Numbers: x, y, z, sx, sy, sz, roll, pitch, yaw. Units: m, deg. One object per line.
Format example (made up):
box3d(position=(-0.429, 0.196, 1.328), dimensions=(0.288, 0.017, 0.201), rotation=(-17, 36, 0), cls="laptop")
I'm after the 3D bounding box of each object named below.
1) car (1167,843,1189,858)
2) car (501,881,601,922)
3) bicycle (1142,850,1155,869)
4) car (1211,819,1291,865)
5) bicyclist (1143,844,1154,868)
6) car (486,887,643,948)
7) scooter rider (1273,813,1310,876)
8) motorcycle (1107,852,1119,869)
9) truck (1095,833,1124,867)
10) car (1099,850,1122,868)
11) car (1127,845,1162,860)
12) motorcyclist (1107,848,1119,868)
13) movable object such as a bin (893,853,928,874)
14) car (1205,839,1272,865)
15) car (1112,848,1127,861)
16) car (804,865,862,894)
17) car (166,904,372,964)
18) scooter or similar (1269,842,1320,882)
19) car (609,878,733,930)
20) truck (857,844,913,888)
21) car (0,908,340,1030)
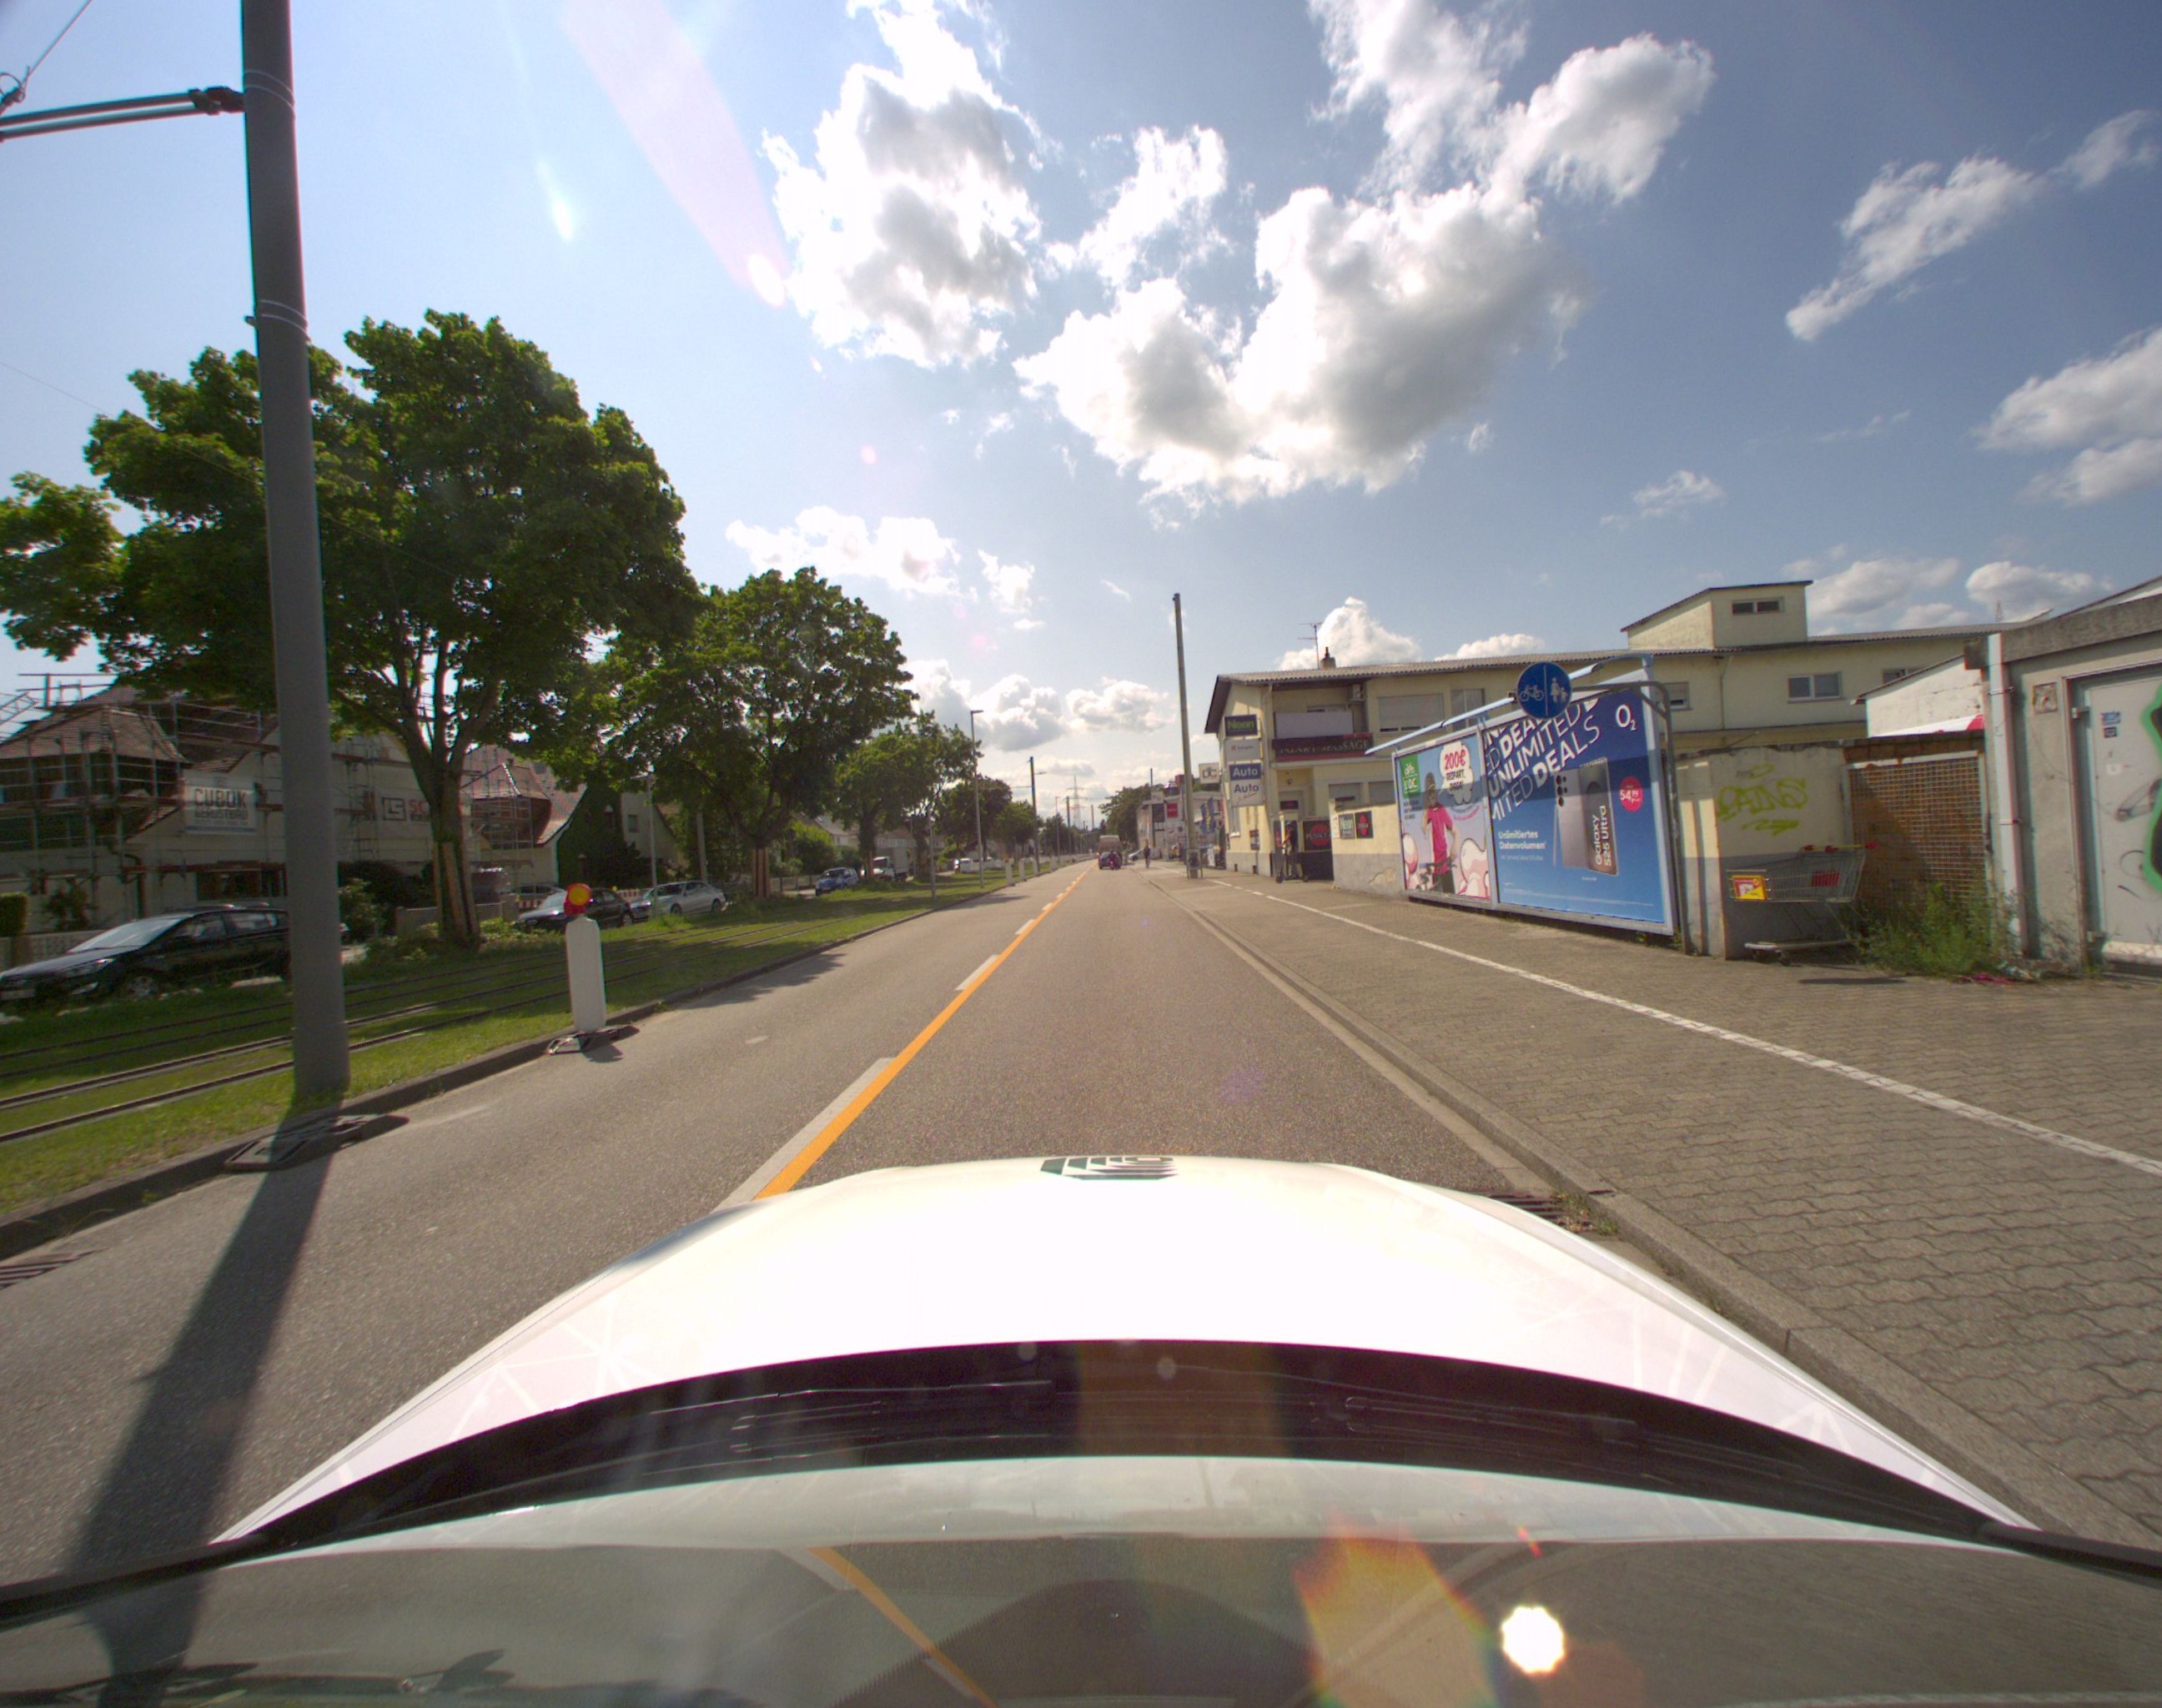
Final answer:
box3d(position=(11.548, -0.427, 97.204), dimensions=(1.953, 1.648, 3.999), rotation=(-4, -1, 0), cls="car")
box3d(position=(-26.228, 2.331, 40.396), dimensions=(3.634, 1.684, 1.874), rotation=(-5, -1, 1), cls="car")
box3d(position=(5.057, 0.408, 61.126), dimensions=(0.690, 1.361, 2.419), rotation=(-4, 0, 2), cls="bicycle")
box3d(position=(10.639, -0.735, 51.124), dimensions=(4.517, 2.573, 2.153), rotation=(-4, 0, 3), cls="car")
box3d(position=(5.054, 0.128, 61.102), dimensions=(0.669, 1.744, 0.814), rotation=(-4, 0, 1), cls="bicyclist")
box3d(position=(-15.171, 1.827, 24.199), dimensions=(1.986, 1.317, 3.854), rotation=(-6, -1, 2), cls="car")
box3d(position=(6.713, -0.291, 25.996), dimensions=(0.721, 1.963, 0.778), rotation=(-2, -2, -28), cls="scooter rider")
box3d(position=(2.569, 0.491, 66.141), dimensions=(0.936, 1.320, 2.646), rotation=(-2, 0, 2), cls="motorcycle")
box3d(position=(3.101, -0.550, 86.745), dimensions=(2.600, 3.255, 9.189), rotation=(-4, 1, 3), cls="truck")
box3d(position=(2.560, 0.429, 70.619), dimensions=(1.815, 1.424, 4.002), rotation=(-3, 0, 2), cls="car")
box3d(position=(8.375, -0.187, 107.932), dimensions=(4.325, 1.551, 1.945), rotation=(-4, -1, -7), cls="car")
box3d(position=(2.561, 0.338, 65.961), dimensions=(0.936, 1.615, 1.205), rotation=(-2, 0, 2), cls="motorcyclist")
box3d(position=(-23.457, 1.305, 112.007), dimensions=(4.351, 2.449, 1.777), rotation=(-4, 0, -20), cls="movable object such as a bin")
box3d(position=(10.414, -0.146, 54.022), dimensions=(4.159, 1.431, 1.825), rotation=(-4, 0, 8), cls="car")
box3d(position=(4.714, 0.075, 99.784), dimensions=(1.814, 1.464, 4.003), rotation=(-3, 0, 2), cls="car")
box3d(position=(-14.366, 1.459, 47.369), dimensions=(1.987, 1.453, 3.999), rotation=(-4, -1, 0), cls="car")
box3d(position=(-23.506, 2.286, 23.685), dimensions=(3.972, 1.401, 1.983), rotation=(-3, -1, 1), cls="car")
box3d(position=(6.768, 0.273, 25.882), dimensions=(0.544, 1.195, 1.596), rotation=(-3, -1, -28), cls="scooter or similar")
box3d(position=(-14.842, 1.771, 29.850), dimensions=(1.798, 1.482, 4.942), rotation=(-4, 0, 2), cls="car")
box3d(position=(-13.950, 0.798, 58.359), dimensions=(1.986, 2.767, 6.279), rotation=(-7, 0, 2), cls="truck")
box3d(position=(-15.656, 1.862, 14.010), dimensions=(1.986, 1.438, 4.001), rotation=(-5, -1, 2), cls="car")
